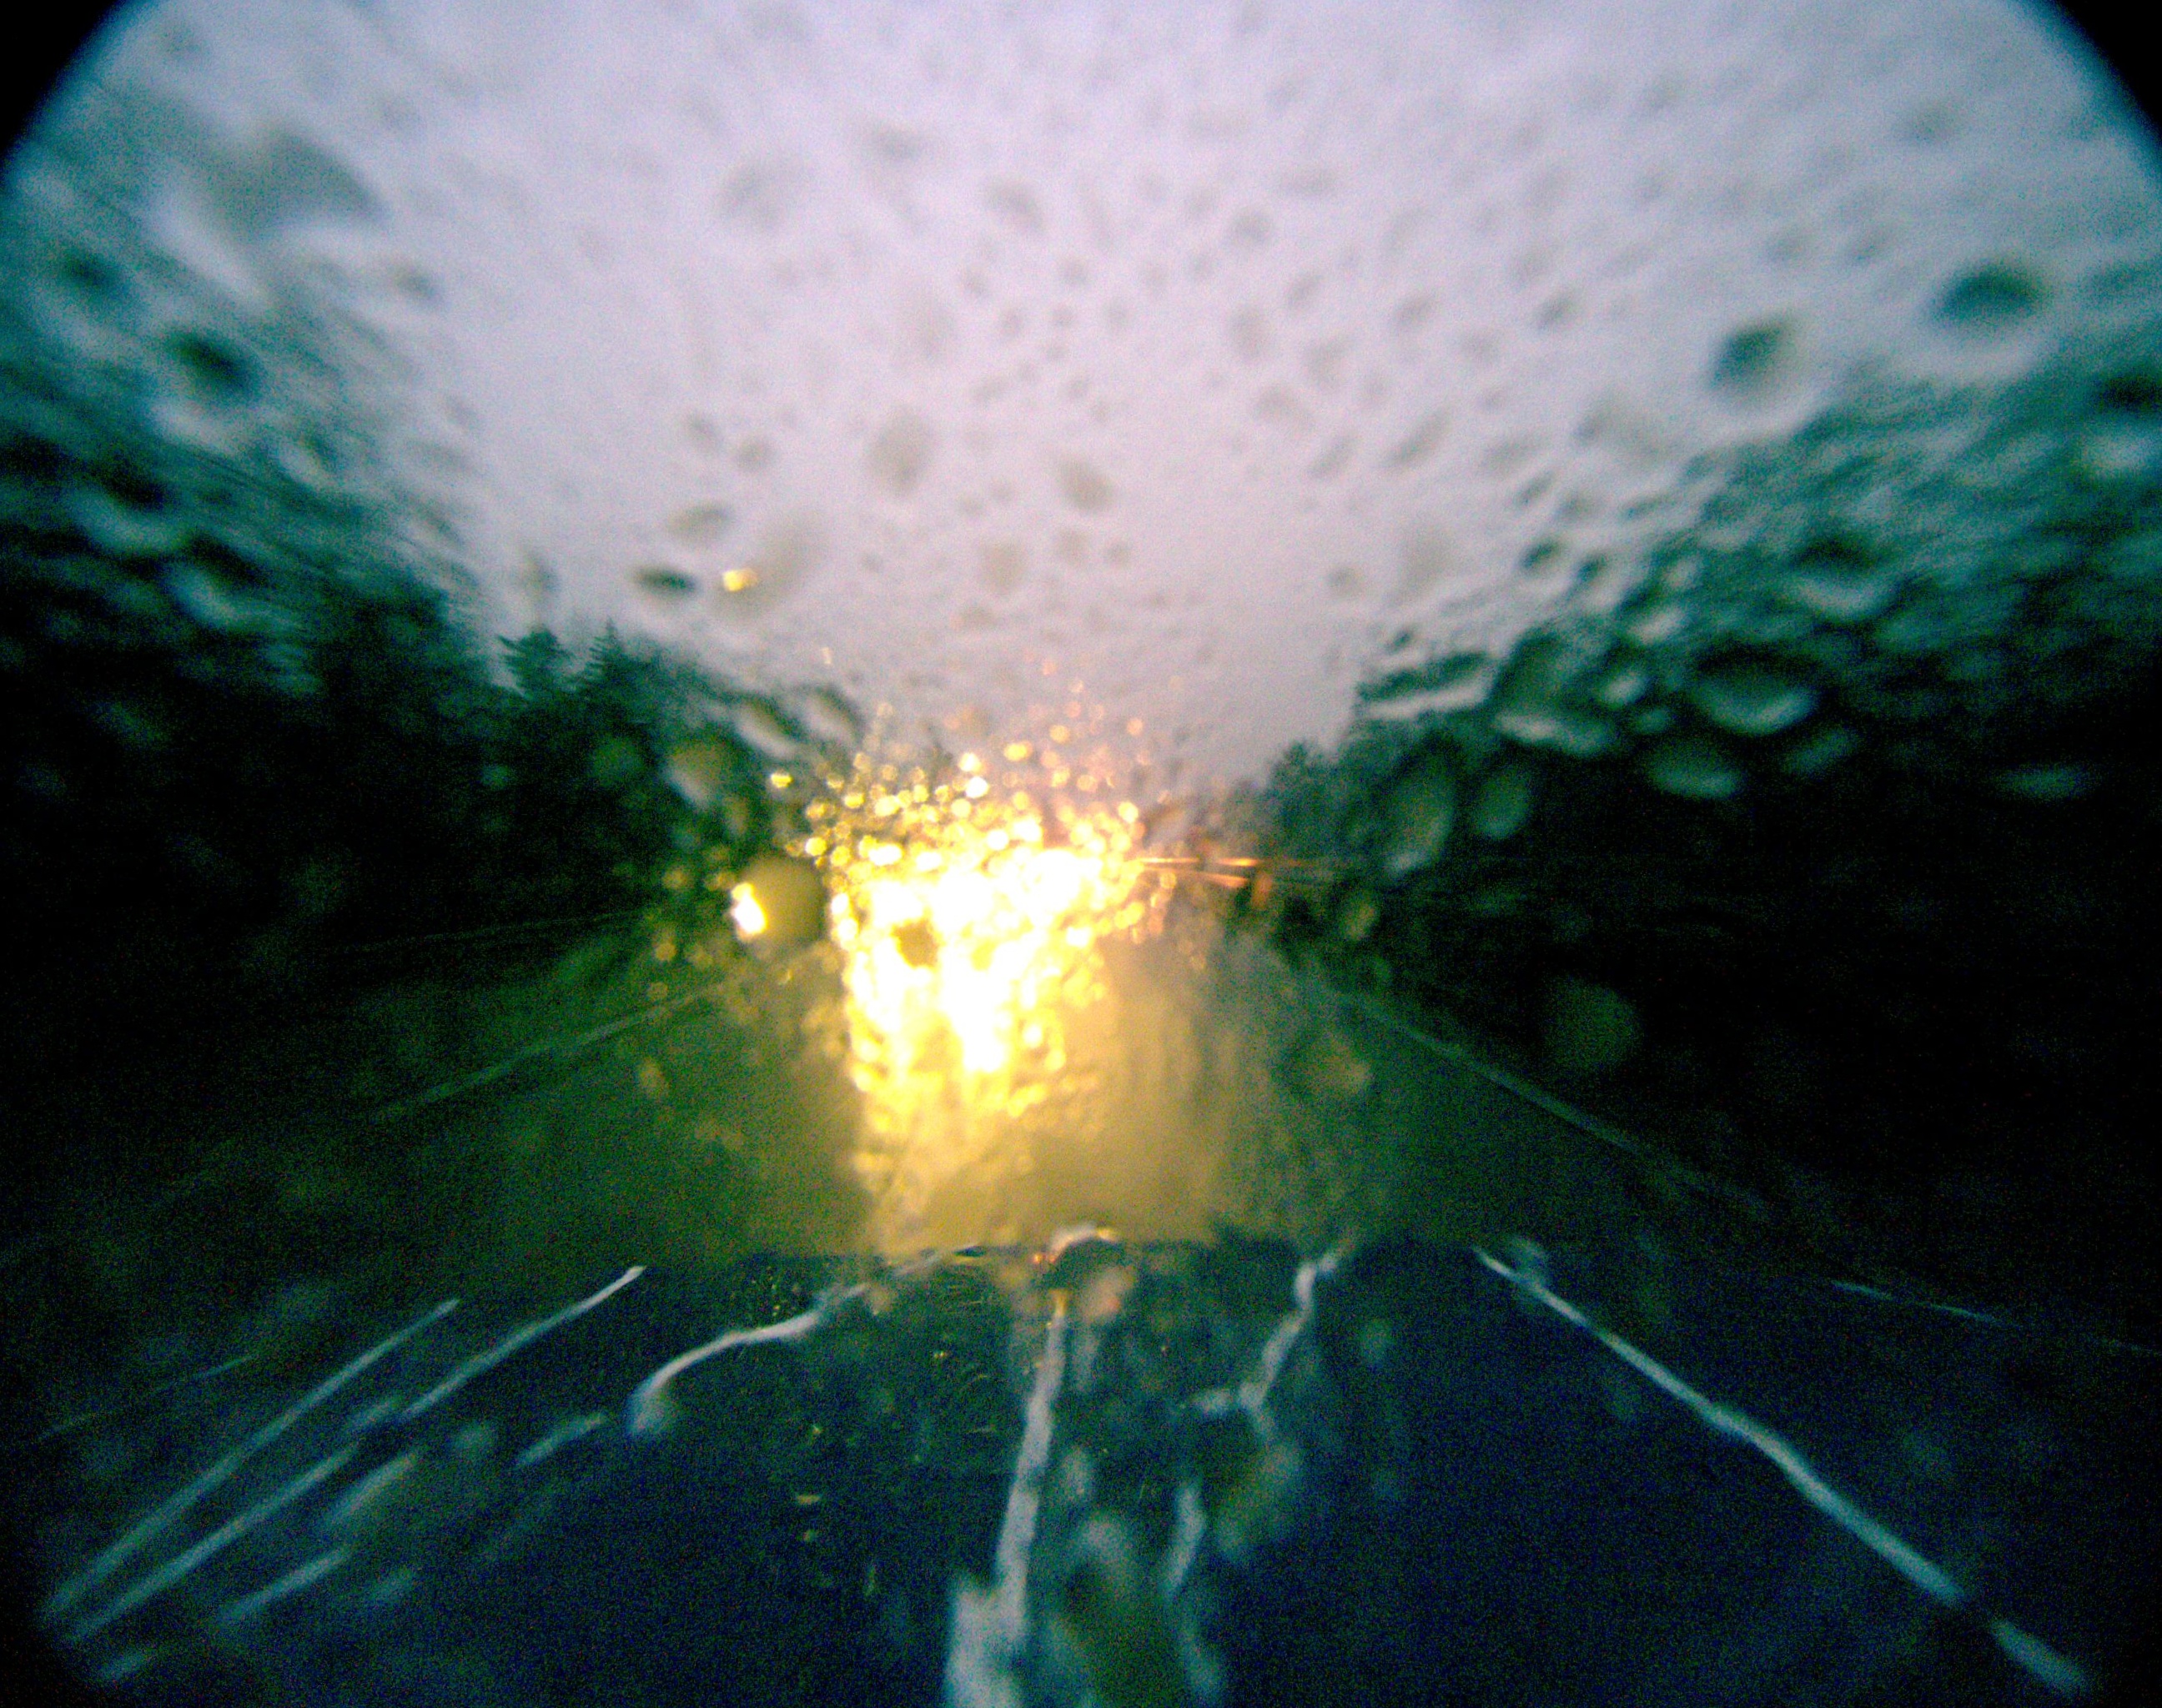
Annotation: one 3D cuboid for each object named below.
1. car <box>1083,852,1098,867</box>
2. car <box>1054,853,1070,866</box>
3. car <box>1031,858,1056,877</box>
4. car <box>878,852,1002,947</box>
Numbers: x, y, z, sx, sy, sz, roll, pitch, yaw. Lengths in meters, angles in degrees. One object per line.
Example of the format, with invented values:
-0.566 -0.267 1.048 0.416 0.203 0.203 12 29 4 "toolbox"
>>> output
1.353 0.770 106.993 1.767 1.922 3.998 -2 1 -3 "car"
-2.171 0.594 87.856 1.742 1.441 3.999 -2 1 -2 "car"
-2.873 1.039 58.605 1.603 1.358 3.305 -3 0 2 "car"
-2.974 0.887 16.898 1.929 1.781 3.940 -2 1 0 "car"
